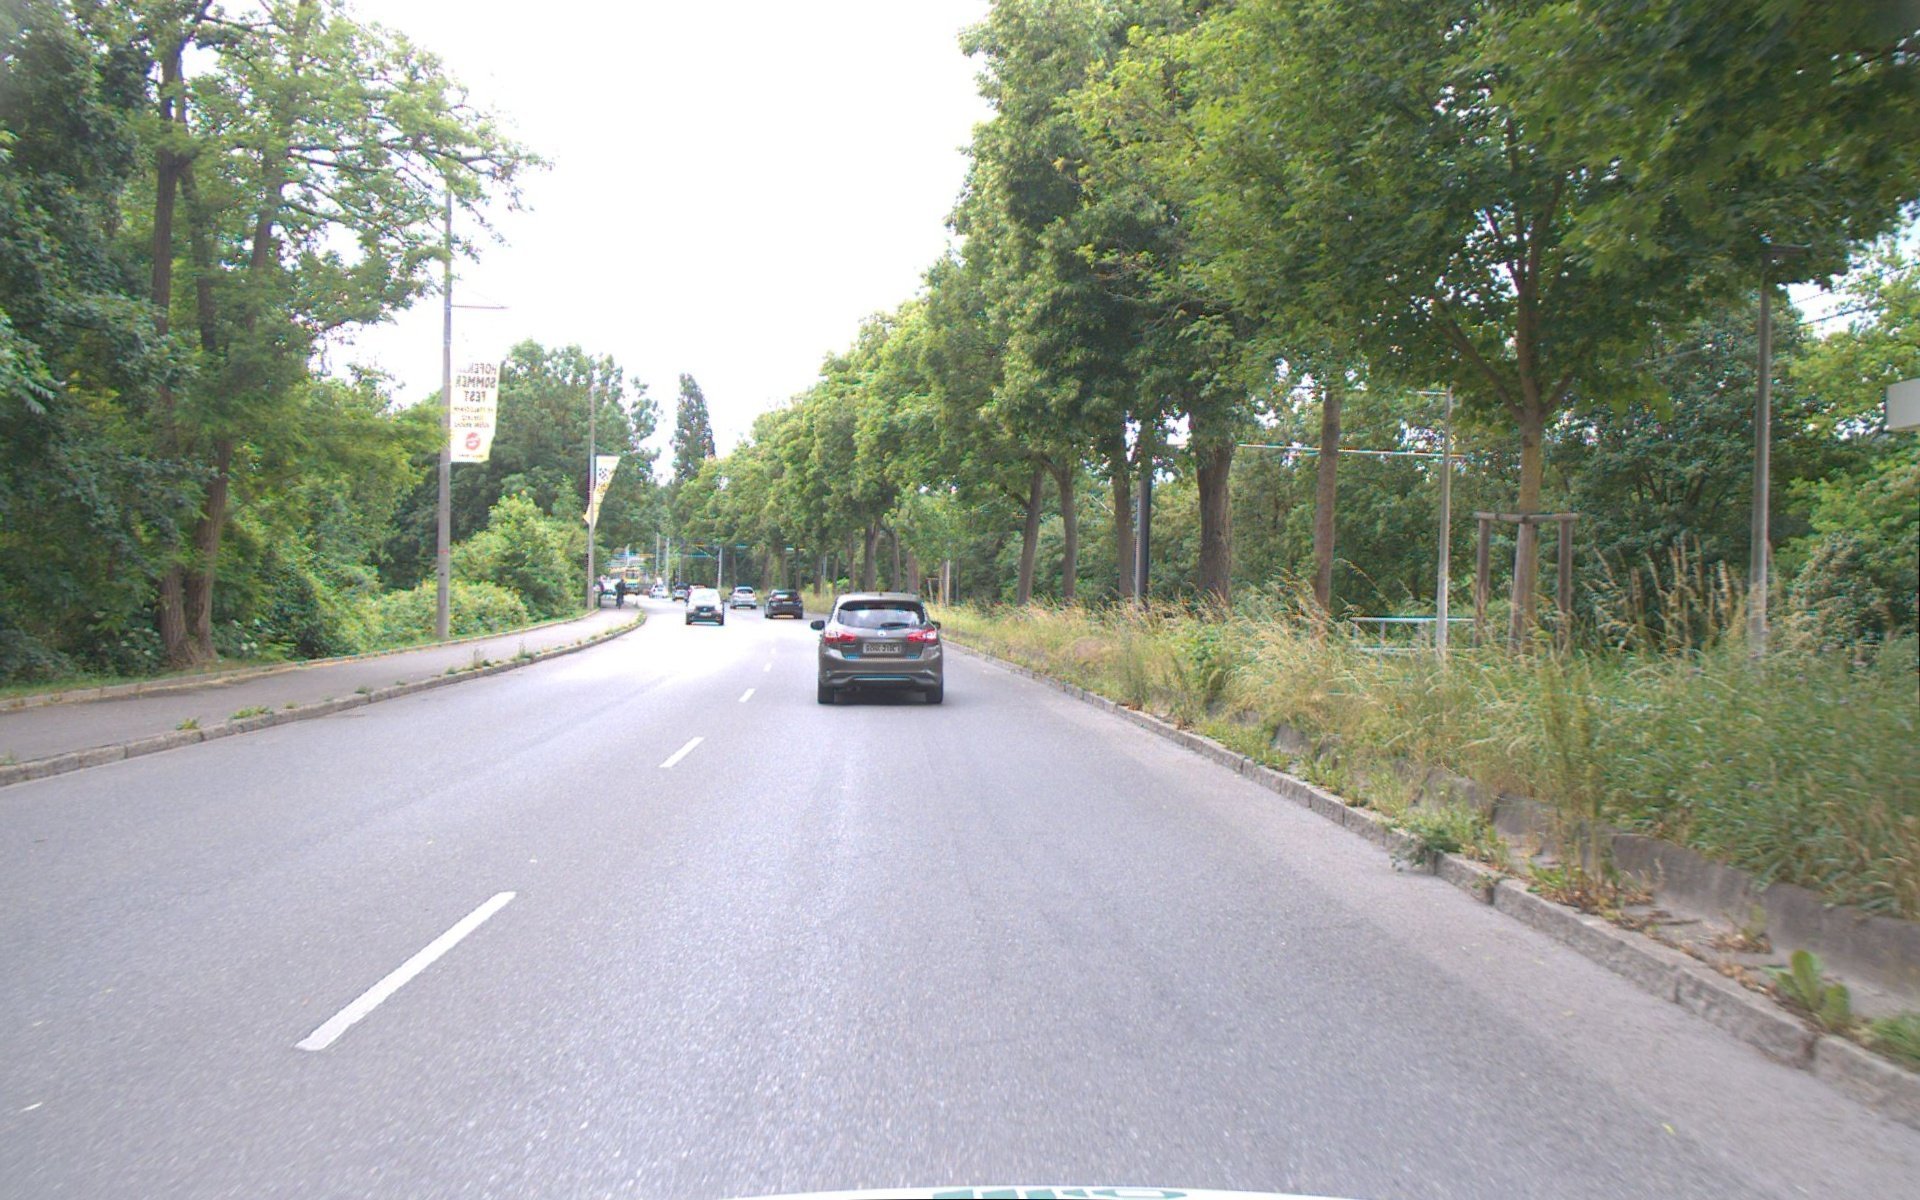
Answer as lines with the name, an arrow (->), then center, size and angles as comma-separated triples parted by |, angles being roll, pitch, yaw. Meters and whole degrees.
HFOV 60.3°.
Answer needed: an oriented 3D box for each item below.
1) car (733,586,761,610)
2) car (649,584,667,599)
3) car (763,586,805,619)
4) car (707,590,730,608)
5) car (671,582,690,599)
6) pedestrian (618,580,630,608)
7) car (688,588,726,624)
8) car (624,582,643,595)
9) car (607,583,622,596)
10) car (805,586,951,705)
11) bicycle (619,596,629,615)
car -> -14.668, -0.159, 114.047 | 1.742, 1.497, 3.994 | 3, 1, -7
car -> -32.895, -0.957, 180.219 | 1.745, 1.497, 3.989 | 3, 1, -12
car -> -9.045, 0.119, 84.767 | 1.744, 1.497, 3.989 | 3, 1, -11
car -> -21.641, -0.081, 148.056 | 1.745, 1.497, 3.989 | 2, 1, -12
car -> -26.965, -0.911, 159.420 | 1.744, 1.497, 3.990 | 2, 1, -11
pedestrian -> -19.704, -0.342, 96.999 | 0.606, 1.598, 0.847 | 3, 1, -10
car -> -10.960, 0.248, 71.814 | 1.565, 1.532, 3.023 | 0, 0, -8
car -> -40.739, -1.427, 206.296 | 1.748, 1.497, 3.981 | 3, 1, -18
car -> -41.509, -1.227, 198.611 | 1.718, 1.489, 3.909 | 2, 0, -11
car -> -1.279, 0.594, 24.131 | 1.782, 1.534, 3.993 | 0, 1, -8
bicycle -> -19.711, 0.298, 96.978 | 0.479, 1.048, 1.122 | 3, 1, -10
